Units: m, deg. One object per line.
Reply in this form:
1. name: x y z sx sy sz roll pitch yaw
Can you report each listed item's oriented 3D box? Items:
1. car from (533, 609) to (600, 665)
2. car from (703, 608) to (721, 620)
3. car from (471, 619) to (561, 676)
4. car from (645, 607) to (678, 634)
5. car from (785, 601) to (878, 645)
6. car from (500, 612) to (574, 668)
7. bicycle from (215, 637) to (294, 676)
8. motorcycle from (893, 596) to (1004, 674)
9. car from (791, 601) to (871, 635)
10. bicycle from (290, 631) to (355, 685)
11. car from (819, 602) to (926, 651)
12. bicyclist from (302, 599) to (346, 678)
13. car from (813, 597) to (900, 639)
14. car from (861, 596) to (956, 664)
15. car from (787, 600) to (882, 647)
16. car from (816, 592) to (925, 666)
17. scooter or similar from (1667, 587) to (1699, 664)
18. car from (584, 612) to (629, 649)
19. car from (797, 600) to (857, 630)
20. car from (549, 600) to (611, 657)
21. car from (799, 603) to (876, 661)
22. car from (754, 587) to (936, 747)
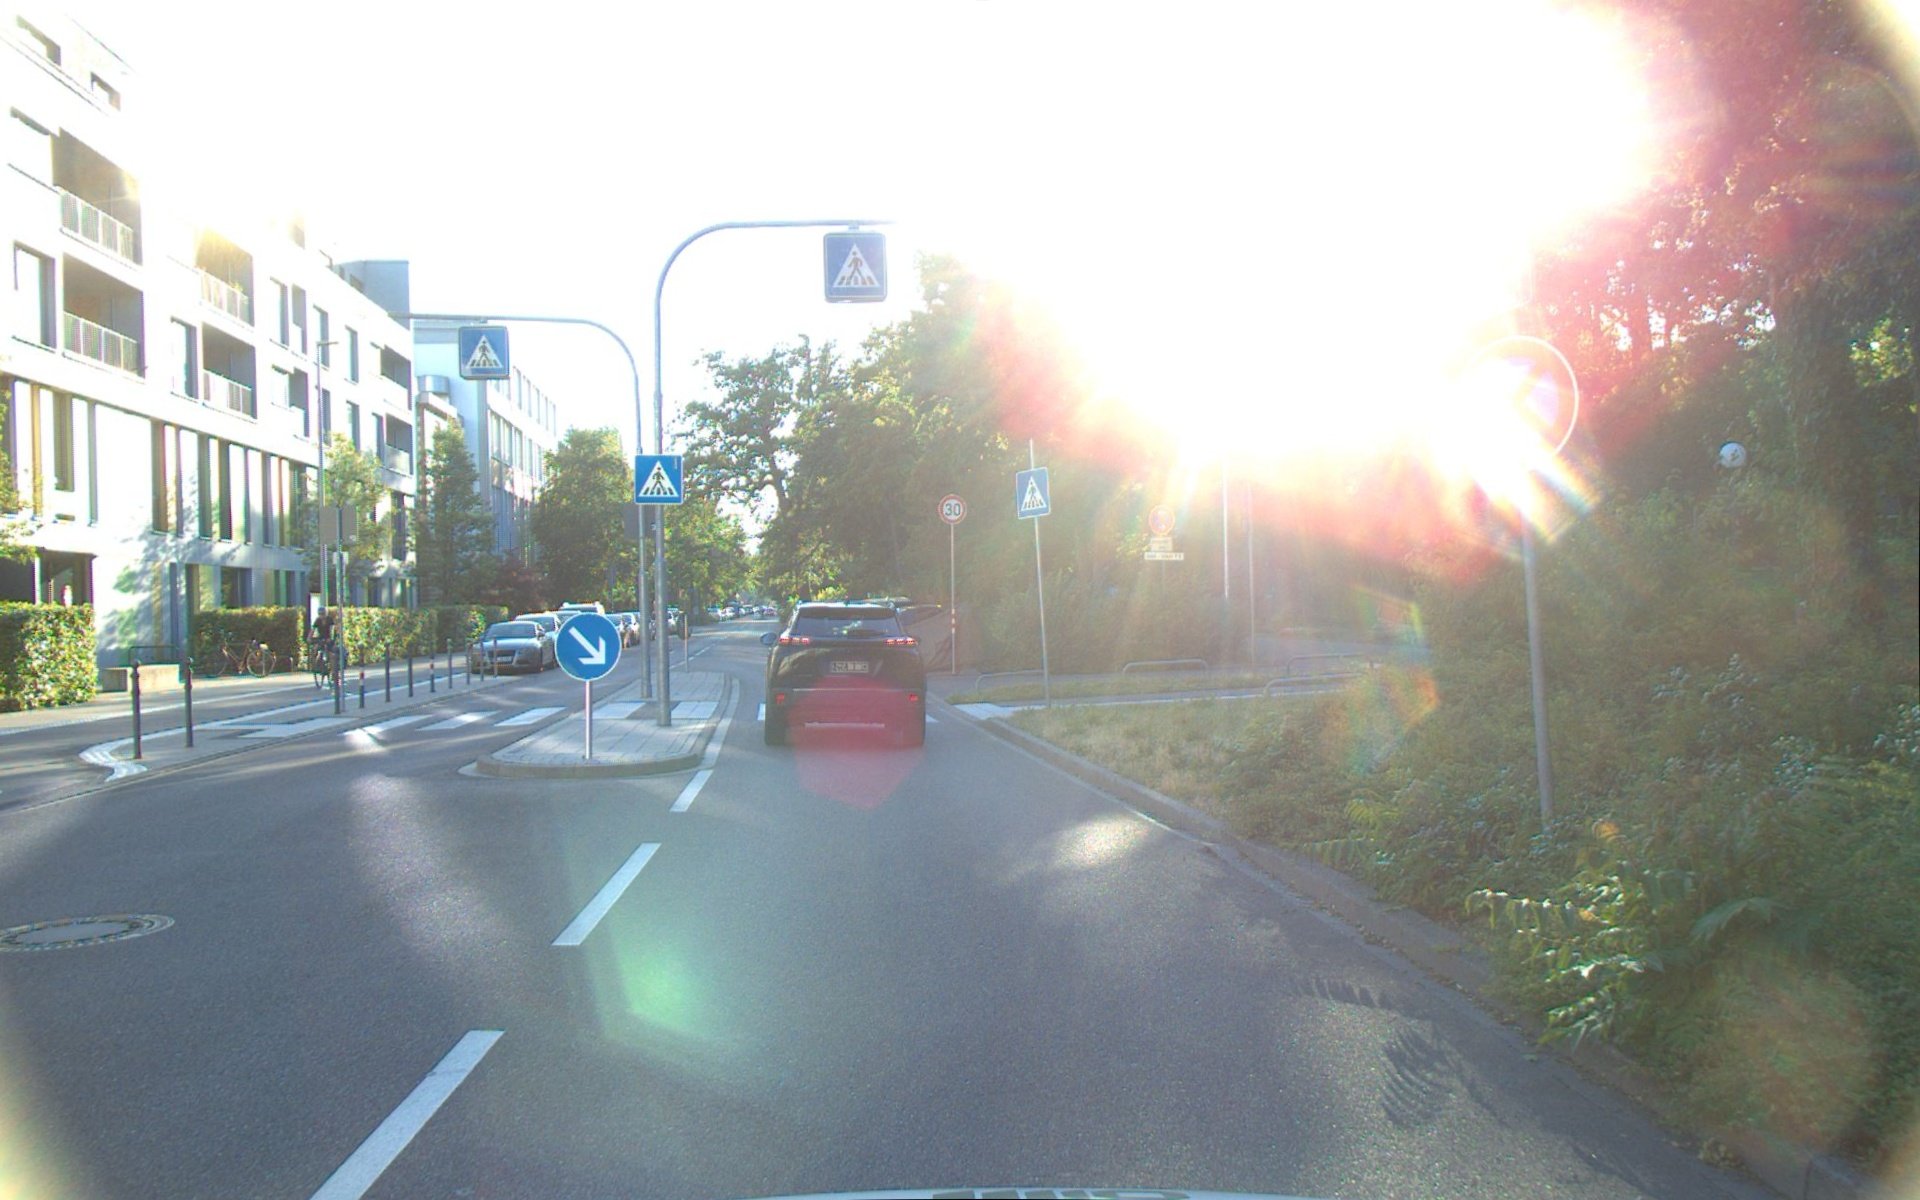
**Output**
1. car: -13.354 1.223 56.286 1.709 1.705 4.409 -3 1 -8
2. car: -28.851 1.597 192.220 1.778 1.378 3.988 -2 0 -12
3. car: -12.102 1.253 45.348 1.709 1.380 4.390 -2 0 -7
4. car: -18.751 1.285 103.982 1.639 1.519 4.056 -3 1 -6
5. car: -5.265 0.946 67.724 3.599 1.469 1.731 -5 1 -9
6. car: -12.871 1.186 50.534 1.710 1.560 4.107 -2 0 -9
7. bicycle: -17.527 1.390 41.113 1.719 0.934 0.616 0 -1 -9
8. motorcycle: -0.231 0.734 35.119 2.243 1.572 1.040 -2 0 4
9. car: -7.141 0.967 91.157 4.255 1.500 1.740 -4 1 -6
10. bicycle: -13.775 1.238 35.793 0.620 1.097 1.883 -2 0 1
11. car: -3.013 0.898 56.628 3.557 1.567 1.669 -1 0 -7
12. bicyclist: -13.778 0.832 35.823 0.613 1.673 0.757 -2 0 0
13. car: -4.609 0.783 73.182 3.655 1.524 1.817 -5 0 -7
14. car: -1.276 0.696 39.704 1.592 1.512 3.407 -2 0 -14
15. car: -4.985 0.918 65.365 3.544 1.551 1.668 -5 1 -9
16. car: -2.429 0.734 43.786 1.890 1.779 4.646 -2 0 -15
17. scooter or similar: 12.033 0.412 27.552 0.377 1.228 1.470 -2 0 21
18. car: -15.158 1.284 71.085 1.568 1.480 3.855 -2 0 -8
19. car: -8.213 0.938 101.920 3.522 1.593 1.815 -3 -1 -8
20. car: -14.089 1.023 61.442 1.774 1.922 4.231 -3 1 -8
21. car: -3.675 0.922 49.135 1.622 1.595 4.287 -2 0 -13
22. car: -1.380 0.687 18.689 1.735 1.596 3.373 -1 0 -9
